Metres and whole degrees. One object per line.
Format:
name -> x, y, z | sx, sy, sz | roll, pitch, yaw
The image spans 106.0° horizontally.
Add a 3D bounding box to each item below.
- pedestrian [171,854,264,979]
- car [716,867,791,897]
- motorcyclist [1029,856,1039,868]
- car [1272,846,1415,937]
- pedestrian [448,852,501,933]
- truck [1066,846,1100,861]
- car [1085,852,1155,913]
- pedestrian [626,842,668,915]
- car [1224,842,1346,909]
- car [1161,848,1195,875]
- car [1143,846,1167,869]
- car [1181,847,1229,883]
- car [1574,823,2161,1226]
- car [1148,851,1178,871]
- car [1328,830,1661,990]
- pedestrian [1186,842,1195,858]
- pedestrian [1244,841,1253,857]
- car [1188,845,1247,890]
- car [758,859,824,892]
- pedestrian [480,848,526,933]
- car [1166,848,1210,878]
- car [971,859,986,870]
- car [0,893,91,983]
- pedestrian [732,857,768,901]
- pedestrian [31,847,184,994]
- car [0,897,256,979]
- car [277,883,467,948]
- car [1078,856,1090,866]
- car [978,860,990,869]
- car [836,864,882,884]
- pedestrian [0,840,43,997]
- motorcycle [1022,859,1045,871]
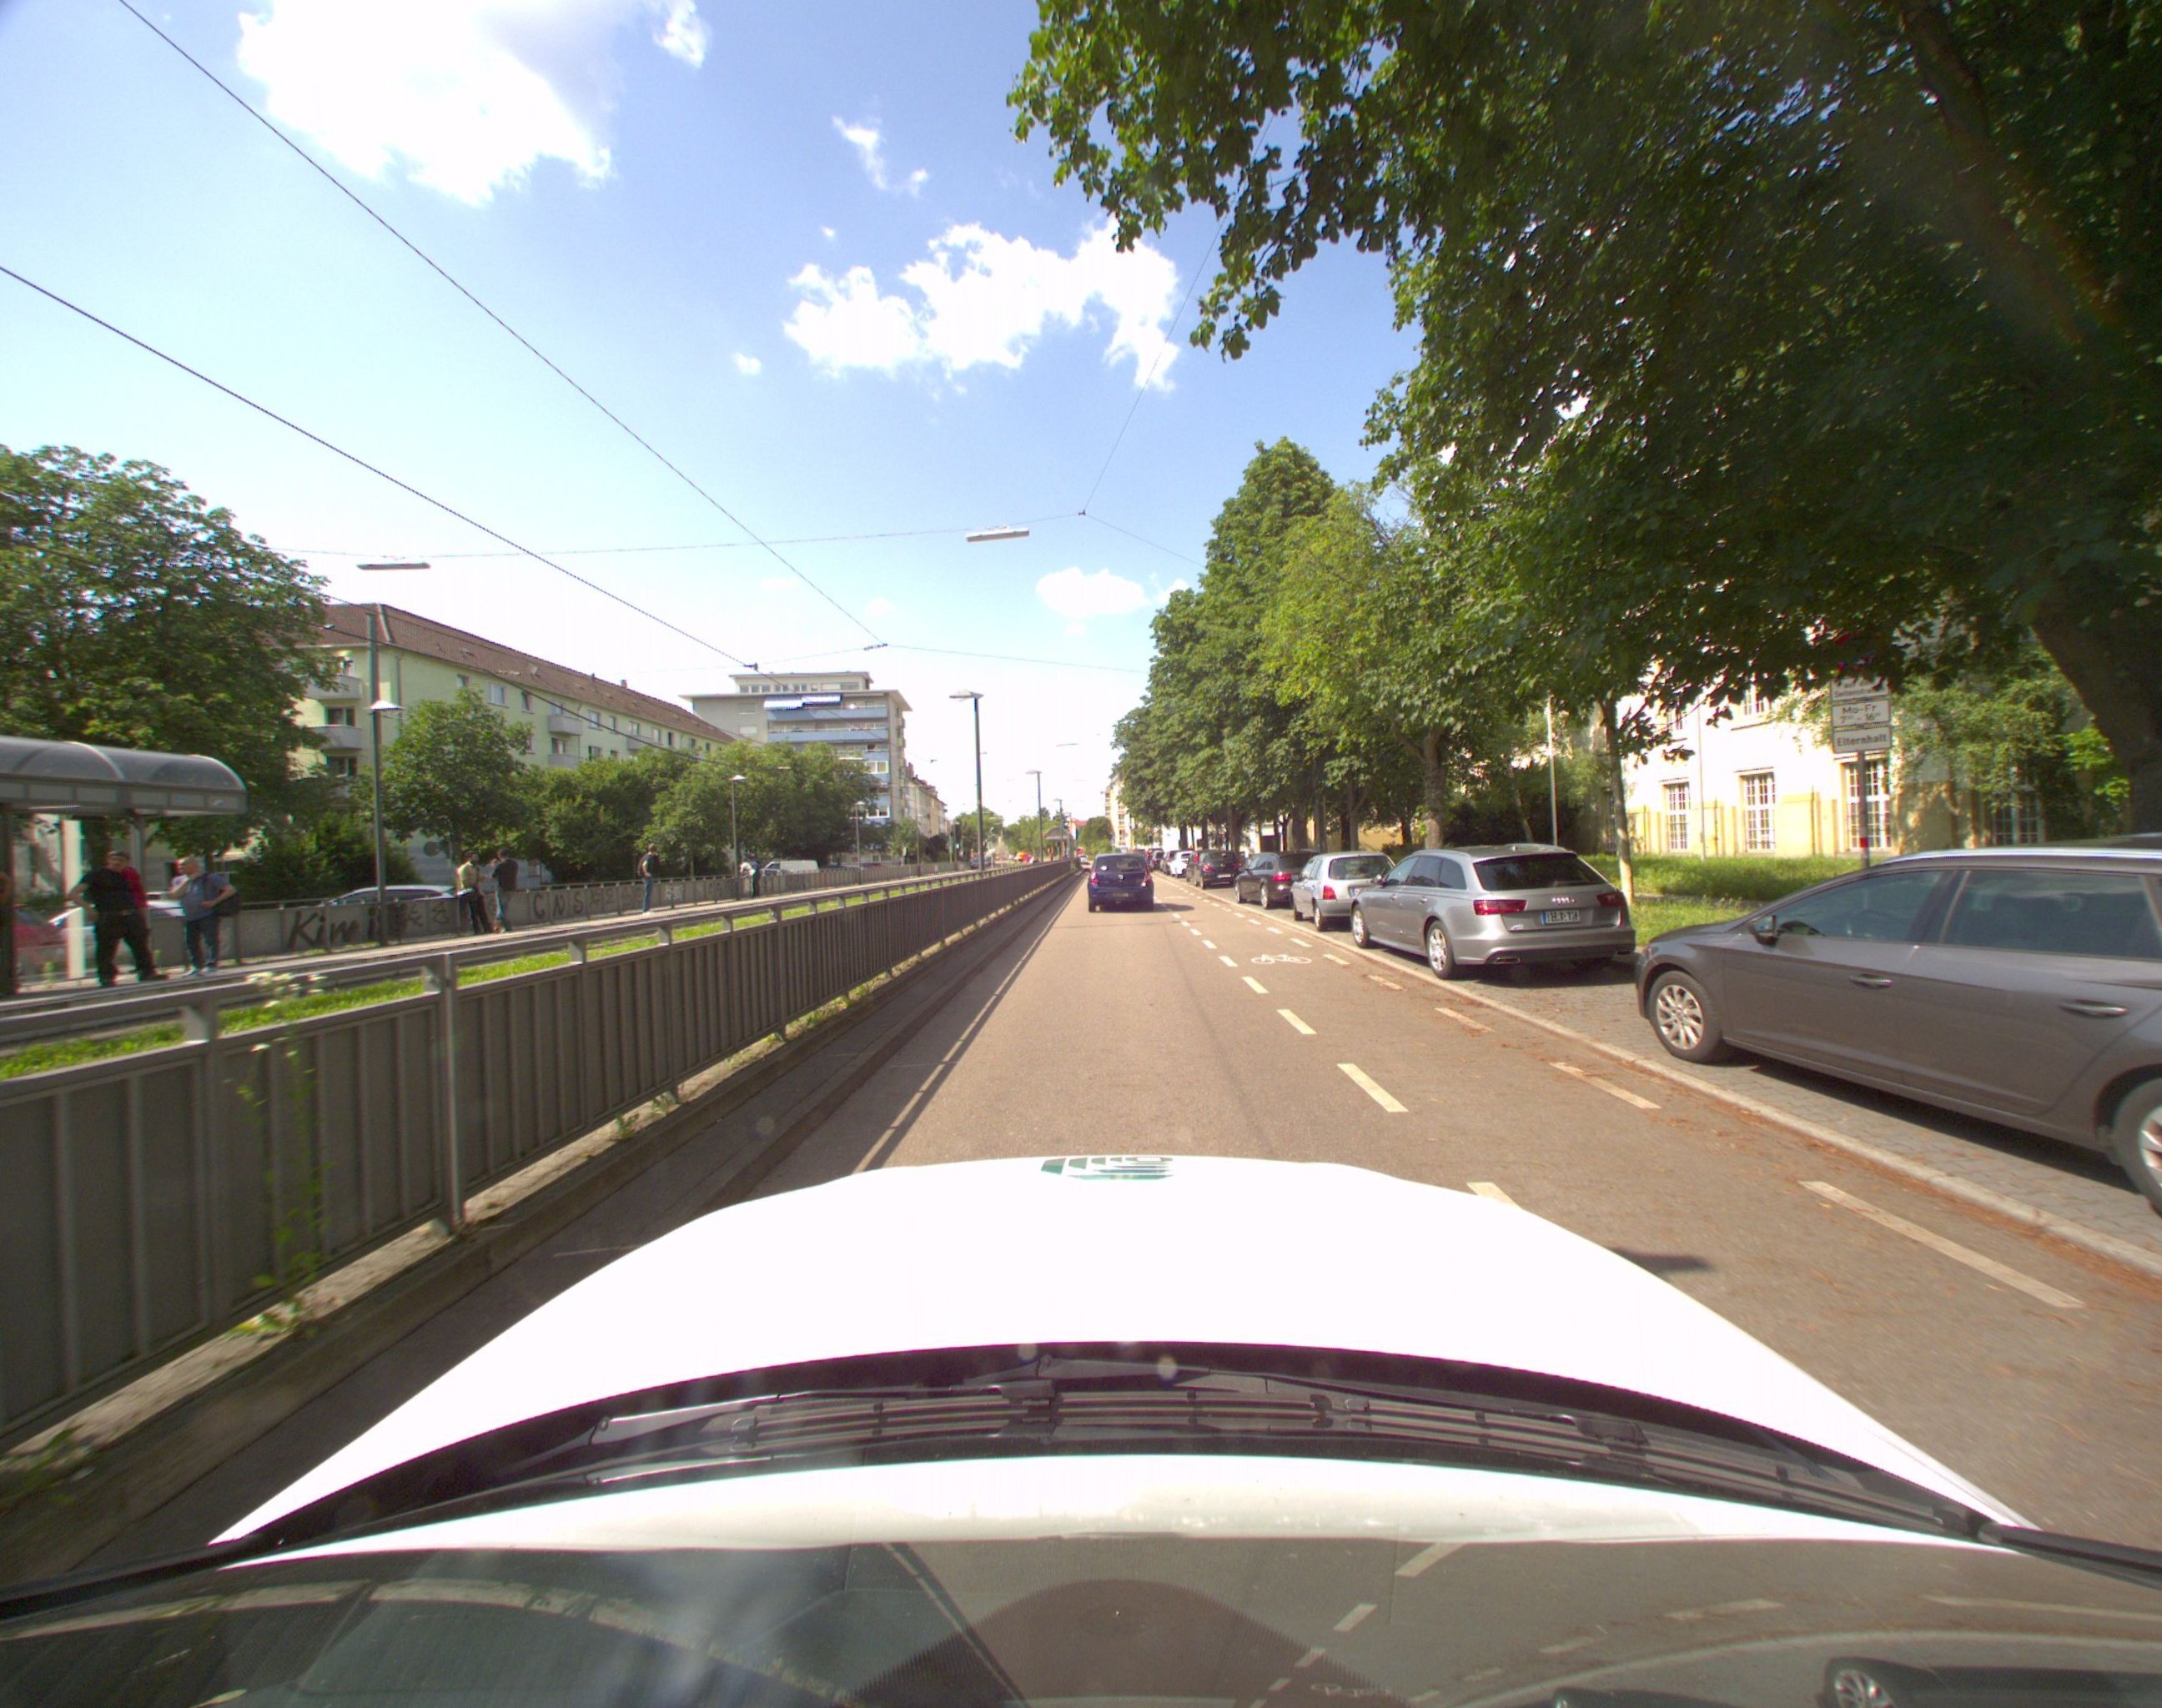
pedestrian -> -11.752, 0.828, 11.105 | 0.597, 1.632, 0.556 | -3, 0, -13
car -> -20.487, 1.713, 51.024 | 4.018, 1.639, 1.807 | -3, 1, -36
motorcyclist -> -5.687, 0.973, 97.519 | 0.985, 1.339, 0.937 | -3, 0, -14
car -> 4.951, 0.621, 15.912 | 1.628, 1.431, 4.019 | -5, 0, 4
pedestrian -> -12.885, 0.813, 17.322 | 0.604, 1.674, 0.625 | -2, -1, 1
truck -> 0.486, -0.179, 209.752 | 8.353, 3.185, 2.597 | -5, 0, -9
car -> 1.012, 0.708, 22.295 | 1.738, 1.507, 4.001 | -1, 0, 1
pedestrian -> -11.672, 0.658, 21.902 | 0.747, 1.892, 0.639 | -2, -2, 3
car -> 5.287, 0.556, 21.854 | 1.827, 1.467, 4.827 | -5, -1, -2
car -> 6.249, 0.480, 52.984 | 1.718, 1.583, 4.679 | -4, 0, 2
car -> 6.576, 0.311, 72.759 | 1.815, 1.896, 4.187 | -4, 0, 3
car -> 5.817, 0.511, 38.647 | 1.551, 1.461, 3.556 | -6, -1, -1
car -> 4.946, 0.622, 4.269 | 1.823, 1.400, 4.657 | -6, 0, 0
car -> 6.725, 0.540, 67.396 | 1.911, 1.442, 4.796 | -5, 0, 0
car -> 4.914, 0.551, 10.702 | 1.822, 1.441, 5.051 | -6, 0, 2
pedestrian -> 11.423, -0.417, 84.868 | 0.741, 1.696, 0.767 | -3, 0, 2
pedestrian -> 16.586, -0.513, 80.584 | 0.629, 1.596, 0.539 | -3, -1, -2
car -> 5.521, 0.515, 33.453 | 1.685, 1.561, 4.309 | -5, 0, 1
car -> -20.182, 1.462, 56.734 | 3.964, 2.070, 2.030 | -2, 0, -30
pedestrian -> -12.176, 0.760, 17.160 | 0.601, 1.754, 0.629 | -3, -1, 42
car -> 6.148, 0.497, 47.384 | 1.830, 1.523, 4.251 | -5, 0, -1
car -> -15.445, 1.614, 122.739 | 1.989, 1.645, 3.996 | -1, -1, -2
car -> -21.880, 1.671, 15.088 | 4.157, 1.640, 1.813 | -2, -1, -38
pedestrian -> -12.528, 0.933, 30.856 | 0.985, 1.578, 0.798 | -3, -1, -2
pedestrian -> -12.265, 0.802, 10.302 | 0.630, 1.743, 1.036 | -3, -1, -1
car -> -21.591, 1.832, 18.310 | 4.044, 1.391, 1.795 | -2, 1, -39
car -> -21.353, 1.812, 24.756 | 4.174, 1.565, 1.904 | -3, -1, -39
car -> 0.370, 1.020, 122.758 | 1.618, 1.465, 3.507 | -1, -1, -3
car -> -16.493, 1.812, 138.694 | 1.765, 1.442, 3.994 | -1, -1, -4
car -> -19.992, 1.764, 73.428 | 3.678, 1.579, 1.633 | -2, 0, -30
pedestrian -> -12.852, 0.763, 9.574 | 0.441, 1.827, 0.623 | -3, -1, -1
motorcycle -> -5.643, 1.282, 97.495 | 2.515, 1.339, 1.012 | -3, 0, -17
